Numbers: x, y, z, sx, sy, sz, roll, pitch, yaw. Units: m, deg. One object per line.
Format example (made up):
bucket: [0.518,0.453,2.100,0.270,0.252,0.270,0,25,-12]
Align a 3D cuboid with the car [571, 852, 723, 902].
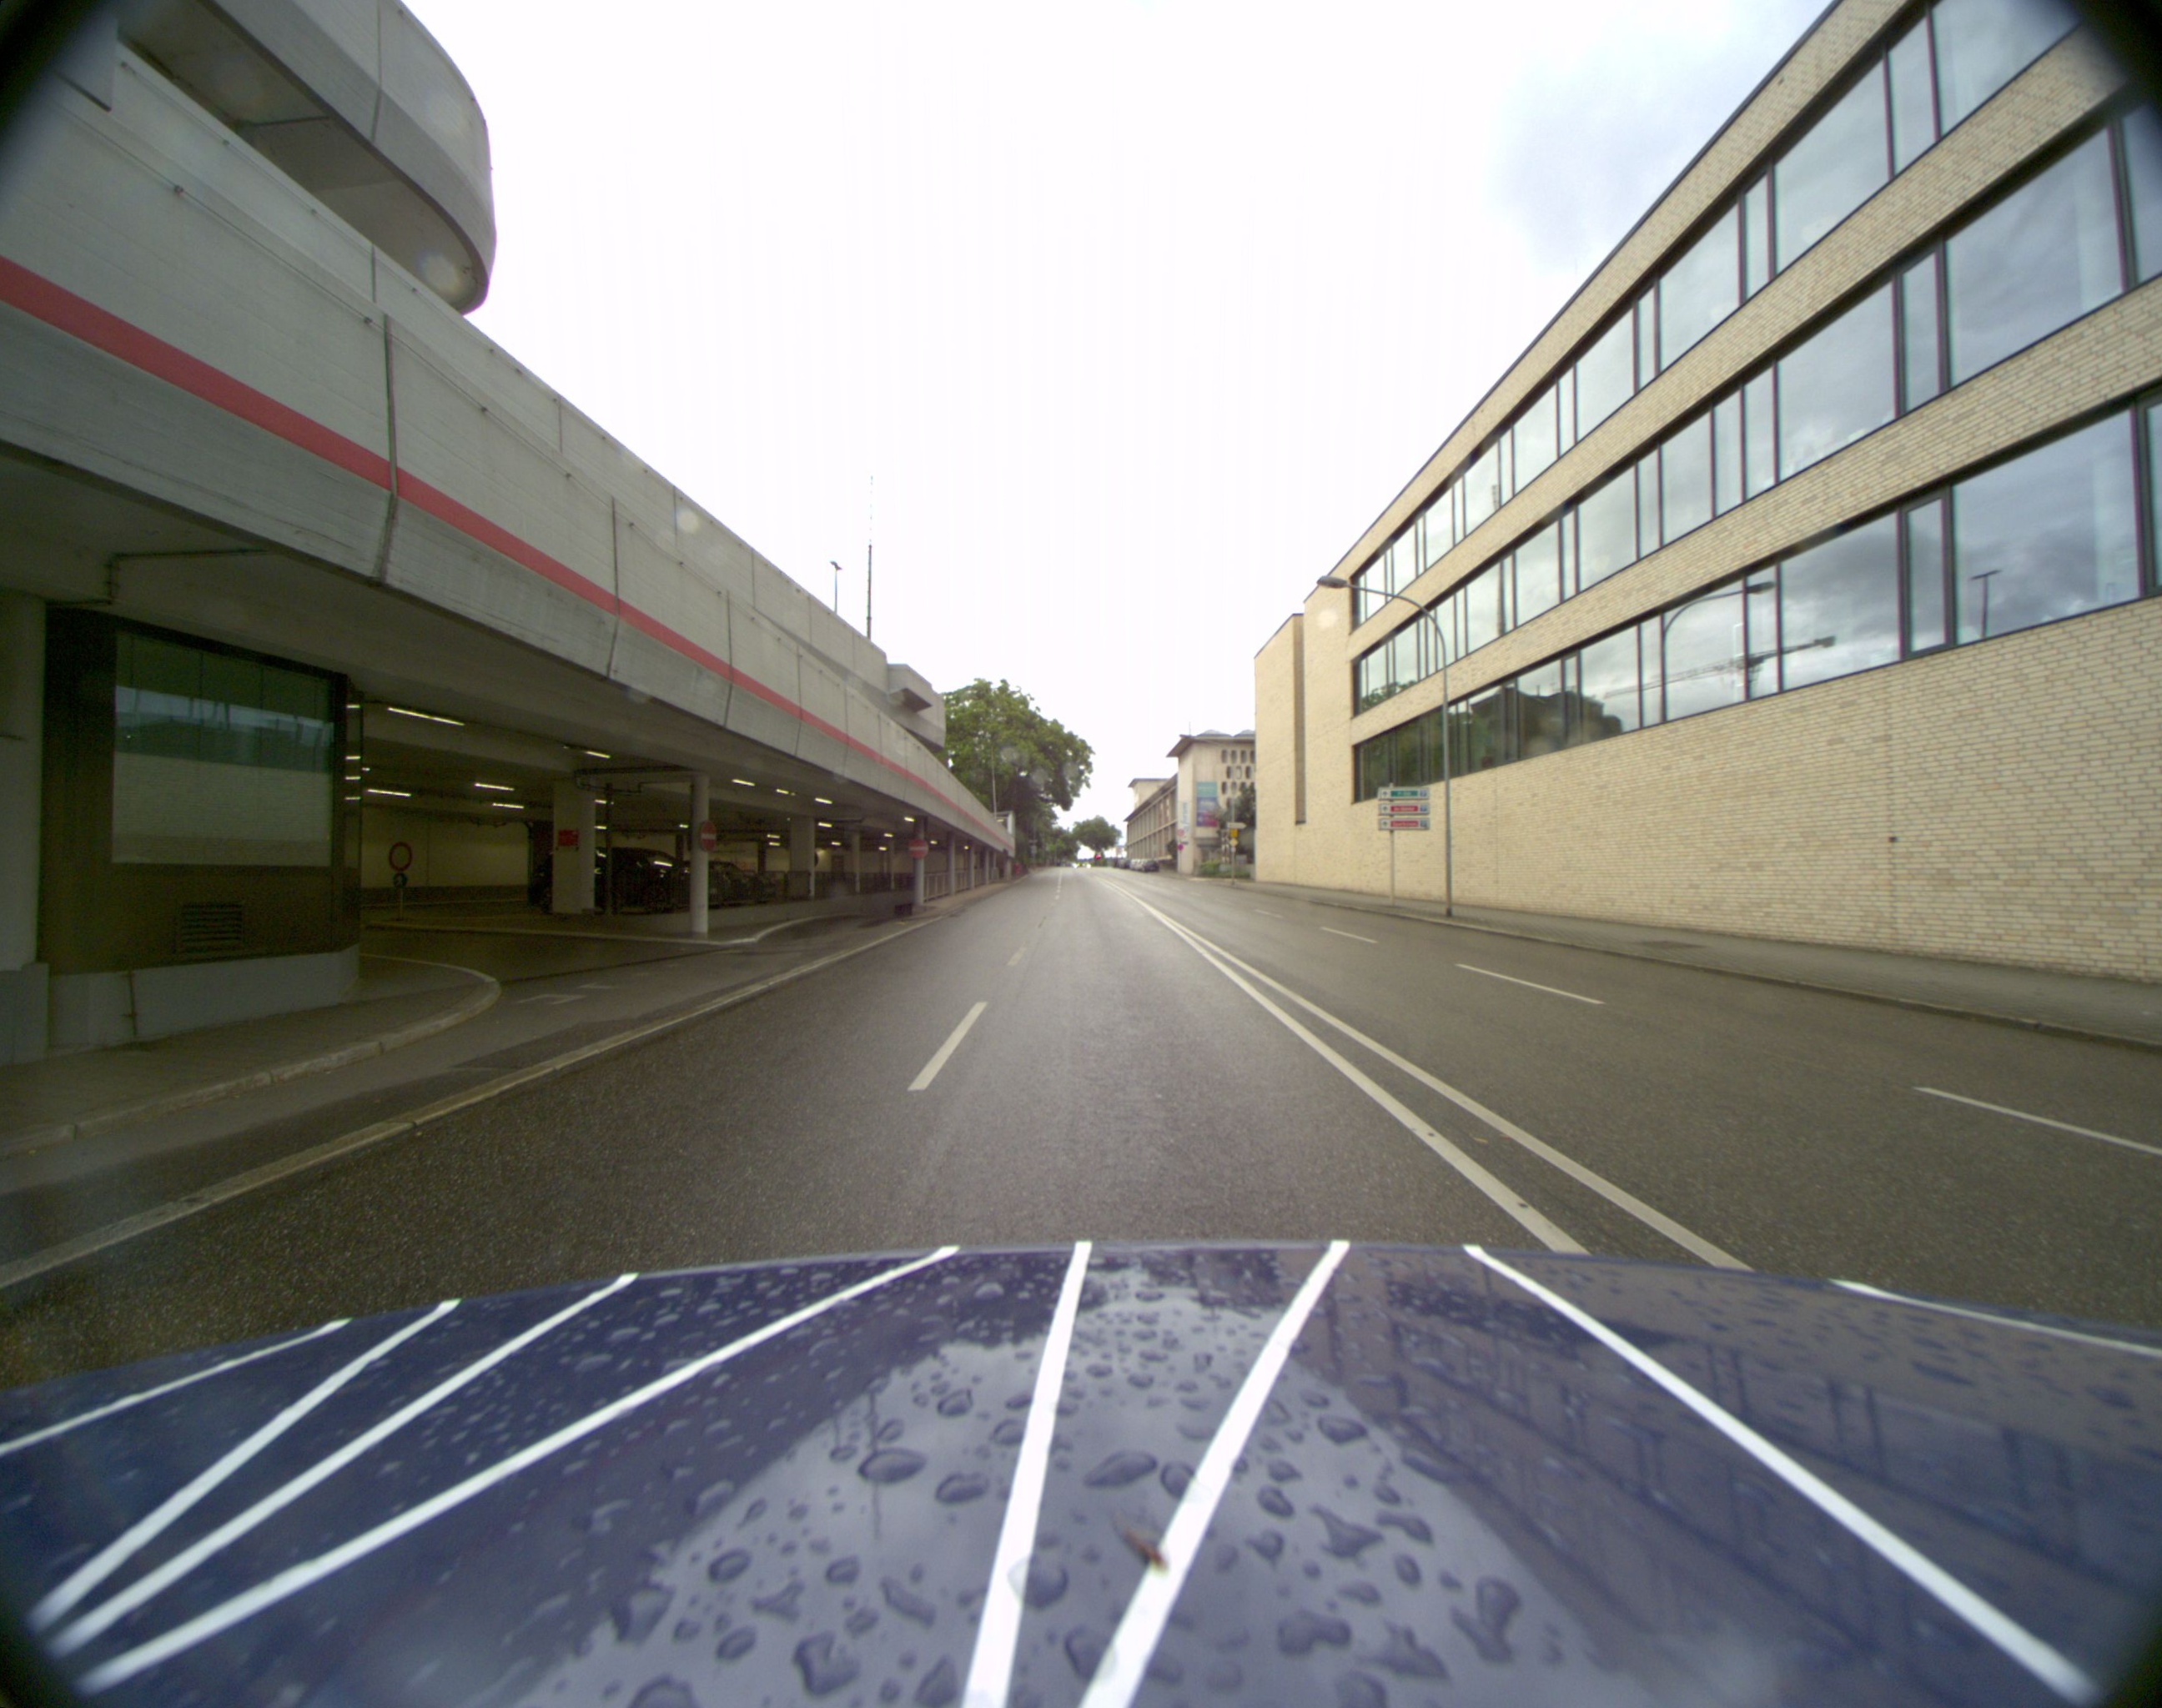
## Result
car: [-13.590,0.721,23.939,3.732,1.496,1.808,0,-1,1]

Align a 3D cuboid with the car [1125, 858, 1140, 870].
car: [8.283,1.589,121.812,1.999,1.702,3.999,-3,1,-1]

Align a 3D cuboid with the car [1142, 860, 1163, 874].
car: [8.554,1.562,90.987,1.999,1.520,3.999,-2,1,-2]

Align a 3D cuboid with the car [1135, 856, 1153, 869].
car: [8.450,1.140,101.809,1.998,1.503,3.999,-2,1,0]

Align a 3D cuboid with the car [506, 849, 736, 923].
car: [-11.180,0.746,18.652,4.586,1.630,1.823,1,0,4]

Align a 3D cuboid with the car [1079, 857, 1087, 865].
car: [0.507,1.727,199.873,1.806,2.002,3.997,-2,1,-6]

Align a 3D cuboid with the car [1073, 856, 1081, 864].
car: [-1.168,1.579,208.467,1.998,2.002,3.999,-2,1,1]

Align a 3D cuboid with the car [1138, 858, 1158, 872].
car: [8.498,1.338,96.487,1.999,1.632,3.999,-2,1,-1]

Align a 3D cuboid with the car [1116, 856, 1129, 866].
car: [7.794,1.369,142.700,1.999,1.637,3.998,-3,2,-2]
